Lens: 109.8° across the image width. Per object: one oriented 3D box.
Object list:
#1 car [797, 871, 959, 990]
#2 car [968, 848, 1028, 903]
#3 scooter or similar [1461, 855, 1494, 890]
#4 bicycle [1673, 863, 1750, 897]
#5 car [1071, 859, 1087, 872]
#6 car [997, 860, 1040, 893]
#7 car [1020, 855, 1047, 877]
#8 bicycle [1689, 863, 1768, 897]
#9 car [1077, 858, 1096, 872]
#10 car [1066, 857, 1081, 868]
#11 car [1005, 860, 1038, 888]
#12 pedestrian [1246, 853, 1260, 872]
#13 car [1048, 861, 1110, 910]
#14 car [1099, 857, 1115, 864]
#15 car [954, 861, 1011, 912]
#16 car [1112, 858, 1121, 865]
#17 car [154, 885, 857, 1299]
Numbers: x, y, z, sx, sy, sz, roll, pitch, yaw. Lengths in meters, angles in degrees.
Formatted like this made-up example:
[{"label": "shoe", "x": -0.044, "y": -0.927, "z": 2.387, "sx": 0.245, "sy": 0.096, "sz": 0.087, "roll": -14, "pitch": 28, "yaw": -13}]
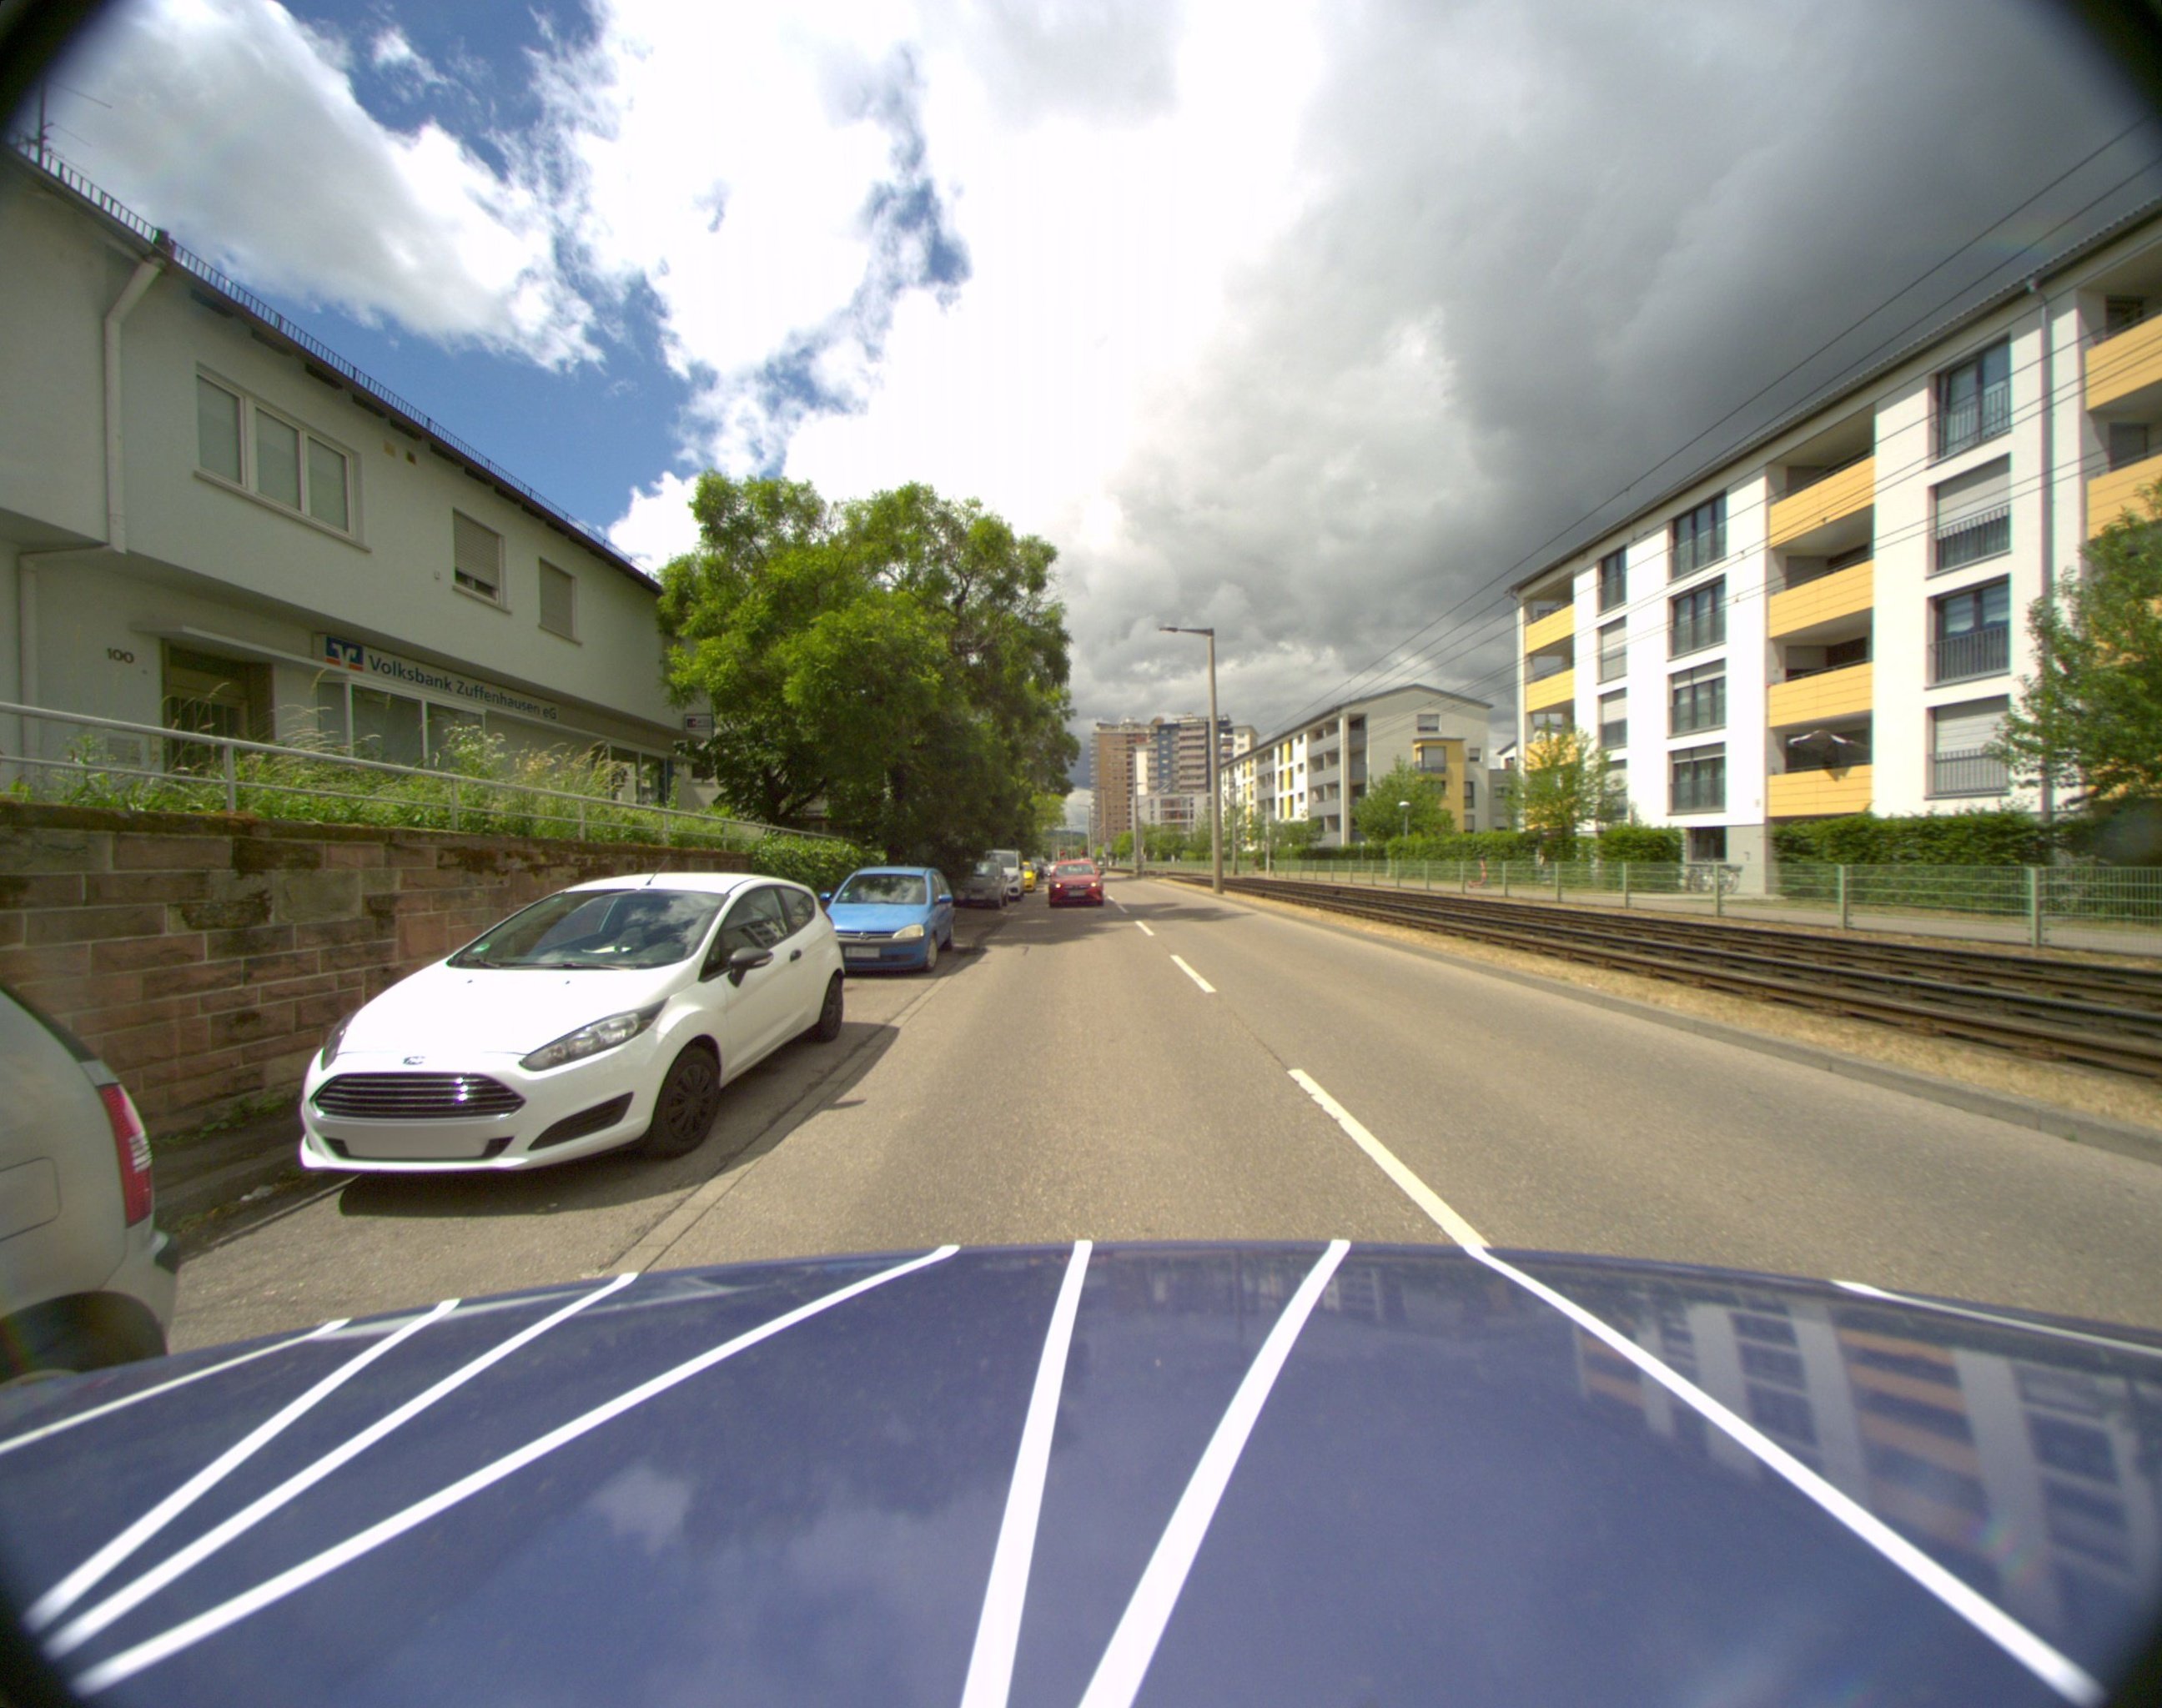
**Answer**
[{"label": "car", "x": -2.865, "y": 1.017, "z": 11.496, "sx": 1.612, "sy": 1.448, "sz": 3.675, "roll": 0, "pitch": 0, "yaw": -3}, {"label": "car", "x": -3.138, "y": 0.772, "z": 29.676, "sx": 1.919, "sy": 1.947, "sz": 5.744, "roll": 0, "pitch": 0, "yaw": -2}, {"label": "scooter or similar", "x": 14.931, "y": 0.680, "z": 28.633, "sx": 0.491, "sy": 1.285, "sz": 1.302, "roll": -2, "pitch": 0, "yaw": -1}, {"label": "bicycle", "x": 19.629, "y": 0.784, "z": 23.722, "sx": 0.556, "sy": 0.974, "sz": 2.213, "roll": -2, "pitch": 0, "yaw": 1}, {"label": "car", "x": -0.286, "y": 1.465, "z": 98.972, "sx": 1.822, "sy": 1.494, "sz": 4.835, "roll": -3, "pitch": 0, "yaw": -4}, {"label": "car", "x": -2.903, "y": 1.004, "z": 35.848, "sx": 1.760, "sy": 1.434, "sz": 4.340, "roll": 0, "pitch": 0, "yaw": -1}, {"label": "car", "x": -3.908, "y": 0.976, "z": 63.712, "sx": 2.020, "sy": 1.778, "sz": 5.075, "roll": 0, "pitch": 0, "yaw": -1}, {"label": "bicycle", "x": 20.152, "y": 0.788, "z": 23.711, "sx": 0.556, "sy": 0.974, "sz": 2.213, "roll": -2, "pitch": 0, "yaw": 1}, {"label": "car", "x": 0.591, "y": 1.272, "z": 88.597, "sx": 1.822, "sy": 1.604, "sz": 4.600, "roll": -3, "pitch": 0, "yaw": -3}, {"label": "car", "x": -1.177, "y": 1.297, "z": 114.486, "sx": 1.863, "sy": 1.680, "sz": 4.432, "roll": -1, "pitch": 0, "yaw": -5}, {"label": "car", "x": -3.297, "y": 1.081, "z": 42.698, "sx": 1.760, "sy": 1.434, "sz": 4.492, "roll": 0, "pitch": 0, "yaw": -3}, {"label": "pedestrian", "x": 13.171, "y": 0.651, "z": 58.114, "sx": 0.798, "sy": 1.474, "sz": 0.995, "roll": -2, "pitch": 0, "yaw": -3}, {"label": "car", "x": -0.138, "y": 0.955, "z": 24.944, "sx": 1.792, "sy": 1.387, "sz": 4.241, "roll": -2, "pitch": 0, "yaw": -2}, {"label": "car", "x": 7.739, "y": 1.935, "z": 226.362, "sx": 4.506, "sy": 1.914, "sz": 1.877, "roll": -1, "pitch": 0, "yaw": -44}, {"label": "car", "x": -3.082, "y": 0.981, "z": 24.260, "sx": 1.517, "sy": 1.525, "sz": 2.846, "roll": 0, "pitch": 0, "yaw": -2}, {"label": "car", "x": 8.701, "y": 1.813, "z": 188.752, "sx": 1.782, "sy": 1.530, "sz": 3.802, "roll": -2, "pitch": 0, "yaw": -4}, {"label": "car", "x": -2.856, "y": 1.028, "z": 4.948, "sx": 1.649, "sy": 1.481, "sz": 3.822, "roll": -2, "pitch": 0, "yaw": 0}]
